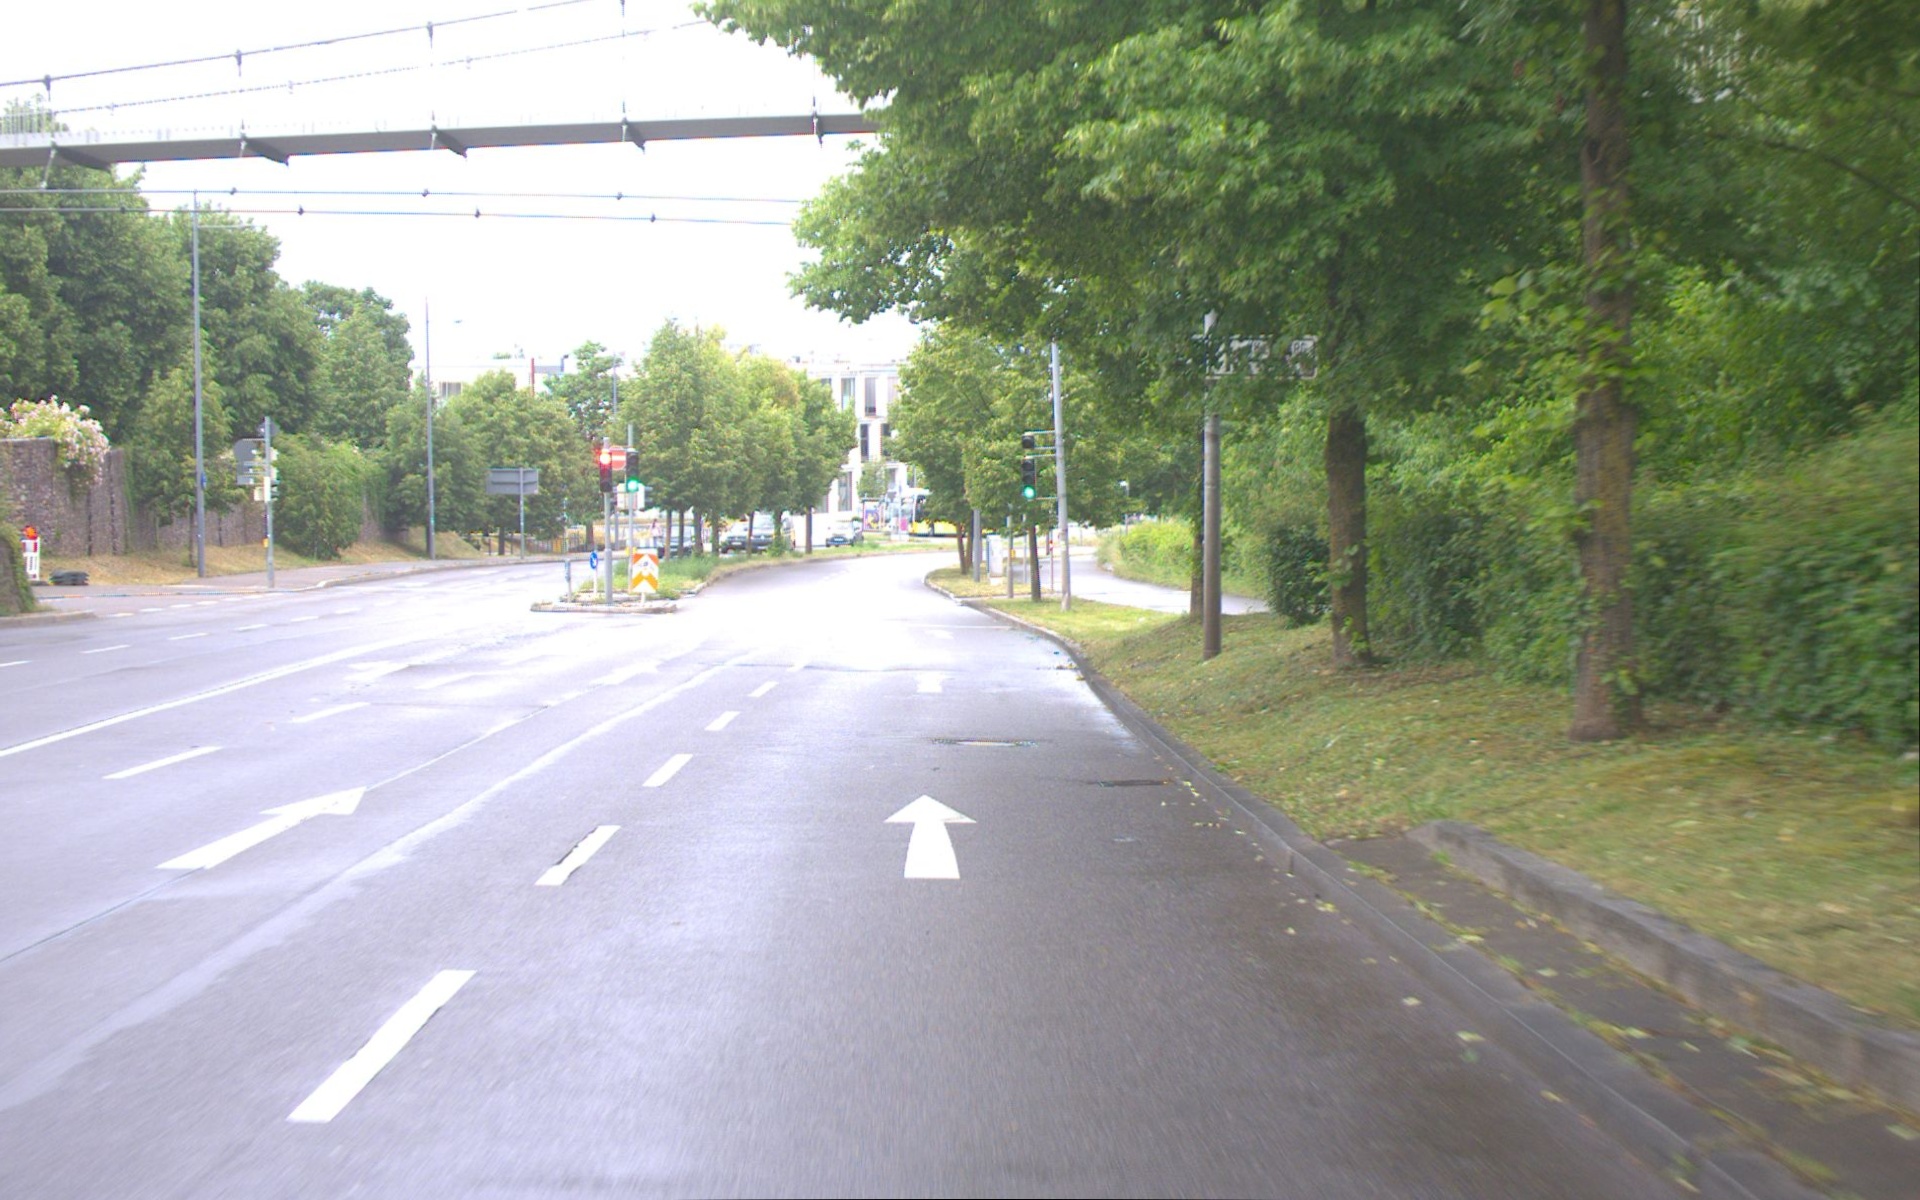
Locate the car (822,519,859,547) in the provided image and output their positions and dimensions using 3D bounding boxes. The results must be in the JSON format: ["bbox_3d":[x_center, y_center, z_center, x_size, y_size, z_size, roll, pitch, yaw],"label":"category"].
[{"bbox_3d":[-6.892,-3.890,198.539,1.687,1.534,2.915,1,2,8],"label":"car"}]

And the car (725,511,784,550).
[{"bbox_3d":[-10.026,-3.406,168.176,2.014,1.912,5.094,0,1,7],"label":"car"}]

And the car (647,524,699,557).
[{"bbox_3d":[-13.469,-2.797,161.506,1.598,1.484,3.999,0,1,7],"label":"car"}]

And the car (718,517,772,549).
[{"bbox_3d":[-11.063,-3.460,177.046,1.881,1.589,4.765,1,1,7],"label":"car"}]
